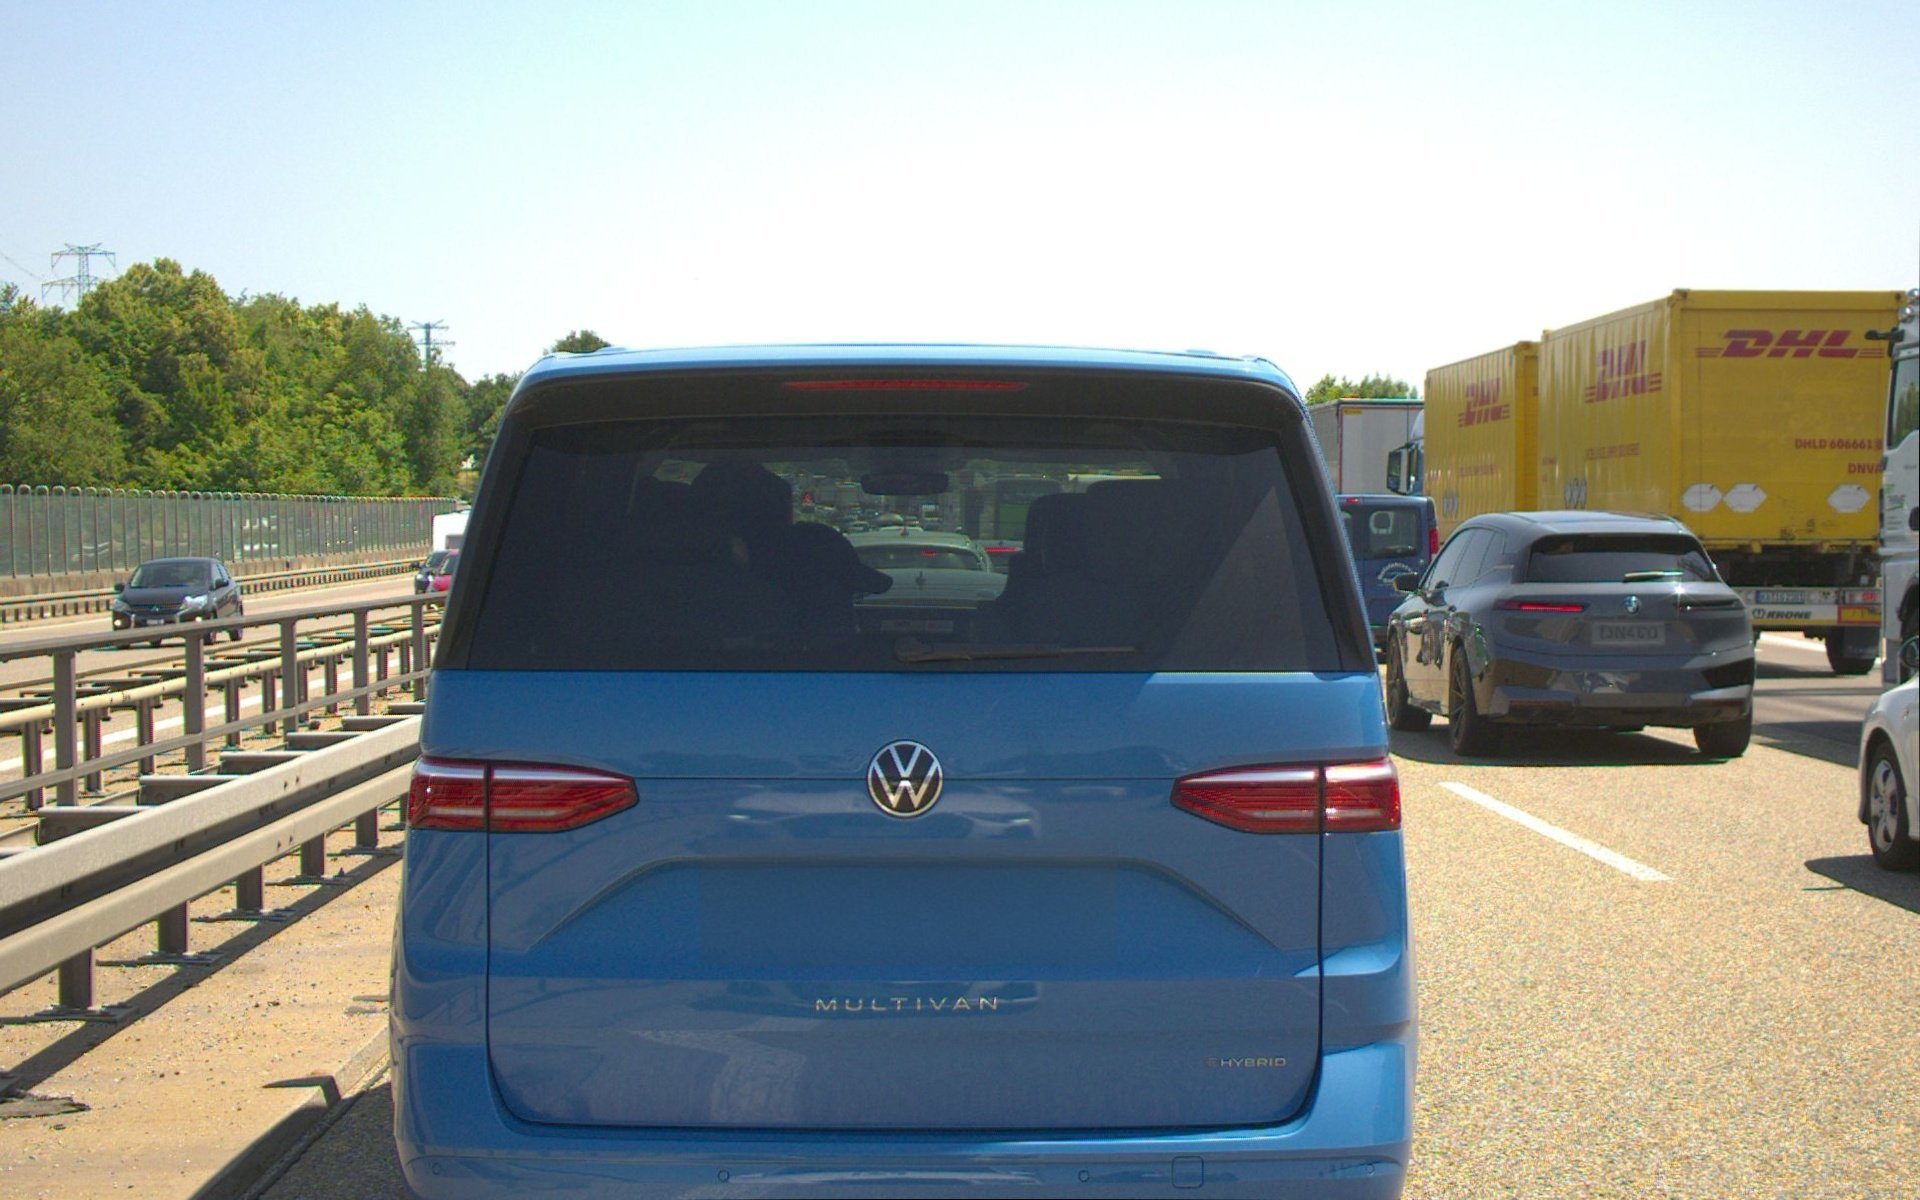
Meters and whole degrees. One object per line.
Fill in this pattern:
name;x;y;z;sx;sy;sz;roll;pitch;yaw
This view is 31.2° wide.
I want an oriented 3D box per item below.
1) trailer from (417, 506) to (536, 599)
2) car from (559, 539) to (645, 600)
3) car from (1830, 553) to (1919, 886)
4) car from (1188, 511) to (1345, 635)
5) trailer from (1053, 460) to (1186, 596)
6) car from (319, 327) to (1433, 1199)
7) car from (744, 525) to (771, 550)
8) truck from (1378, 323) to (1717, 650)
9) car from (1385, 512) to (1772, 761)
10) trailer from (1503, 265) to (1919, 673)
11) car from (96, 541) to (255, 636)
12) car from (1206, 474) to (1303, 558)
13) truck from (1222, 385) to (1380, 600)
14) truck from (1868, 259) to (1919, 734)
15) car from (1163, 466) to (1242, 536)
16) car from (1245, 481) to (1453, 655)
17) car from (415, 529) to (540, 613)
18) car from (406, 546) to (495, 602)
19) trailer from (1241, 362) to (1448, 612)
trailer;-14.152;-1.416;101.040;2.493;2.540;6.774;-2;1;0
car;-9.231;-0.804;88.849;1.668;1.443;4.000;-3;1;1
car;5.098;0.539;14.365;1.788;1.450;4.293;0;1;-1
car;4.619;-0.427;52.297;1.993;1.809;4.000;0;1;-1
trailer;3.696;-1.666;81.751;2.569;2.980;10.663;1;1;0
car;-0.160;0.456;7.715;1.820;1.851;4.075;1;1;0
car;-14.746;-4.550;250.675;1.867;1.694;4.431;0;2;-2
truck;8.353;-1.572;50.470;2.836;4.228;11.011;1;1;-1
car;4.341;0.199;24.795;1.962;1.639;4.293;0;1;-1
trailer;8.614;-1.427;40.437;2.864;4.224;9.012;1;1;-1
car;-13.387;-0.232;58.873;1.729;1.486;4.420;-2;1;-1
car;7.273;-2.061;85.211;1.993;2.007;4.000;1;1;0
truck;7.407;-2.290;75.466;2.667;4.469;6.850;1;1;0
truck;8.761;-0.709;22.255;2.656;3.635;11.011;0;1;-1
car;7.188;-2.916;102.296;1.993;2.007;4.461;-1;1;0
car;4.618;-0.403;41.394;1.962;1.986;4.293;0;1;-1
car;-9.263;-0.587;66.261;1.791;1.473;3.989;-3;1;0
car;-14.088;-0.740;95.303;1.775;1.403;4.683;-2;1;0
trailer;7.439;-2.165;68.078;2.637;4.501;11.302;1;1;-1
